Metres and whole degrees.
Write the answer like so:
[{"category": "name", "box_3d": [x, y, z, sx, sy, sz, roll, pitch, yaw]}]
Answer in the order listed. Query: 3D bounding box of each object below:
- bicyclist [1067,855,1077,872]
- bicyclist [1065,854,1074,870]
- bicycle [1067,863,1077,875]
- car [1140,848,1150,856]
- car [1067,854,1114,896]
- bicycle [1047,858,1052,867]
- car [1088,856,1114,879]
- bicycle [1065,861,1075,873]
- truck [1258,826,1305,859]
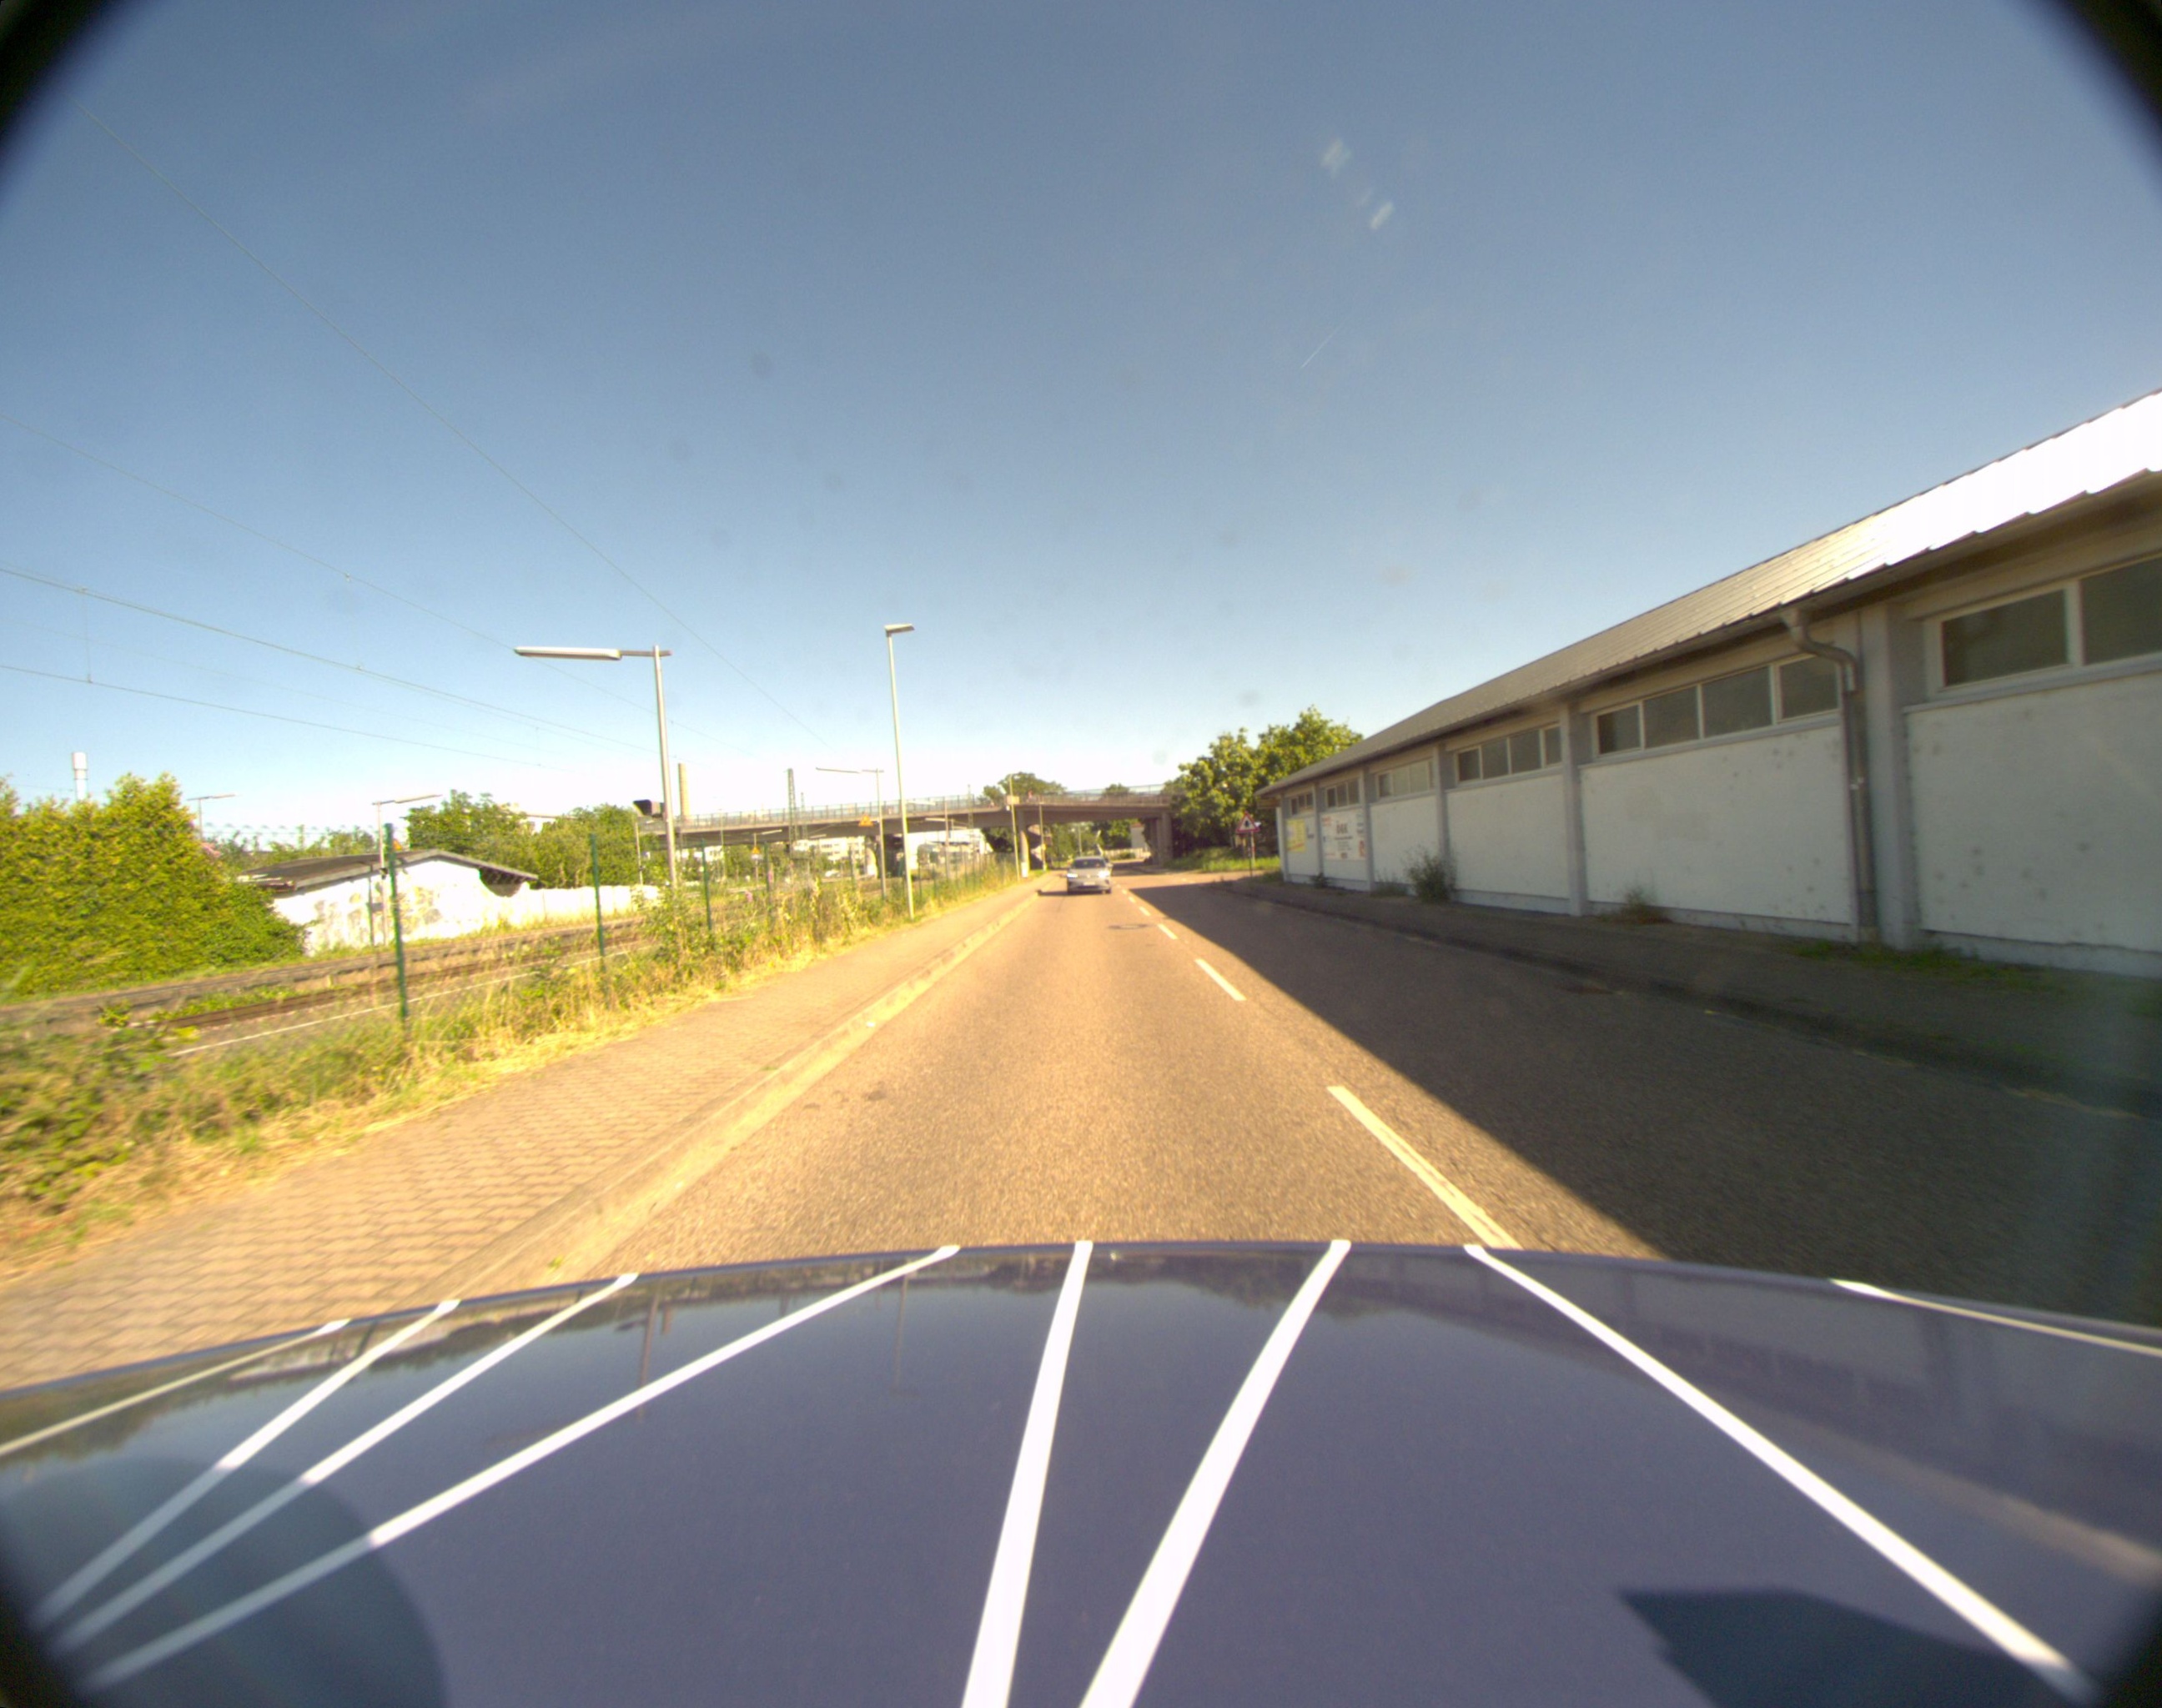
[{"category": "bicyclist", "box_3d": [-0.835, 0.896, 68.805, 0.843, 1.480, 0.923, -3, 1, -2]}, {"category": "bicyclist", "box_3d": [-1.092, 0.760, 71.794, 0.843, 1.480, 0.923, -3, 1, -2]}, {"category": "bicycle", "box_3d": [-0.807, 1.336, 68.762, 0.843, 1.045, 2.189, -3, 0, -2]}, {"category": "car", "box_3d": [14.188, -0.486, 168.945, 1.998, 1.767, 4.367, -3, 0, 6]}, {"category": "car", "box_3d": [0.384, 0.855, 33.327, 1.850, 1.621, 4.295, -2, 0, 0]}, {"category": "bicycle", "box_3d": [-4.374, 1.156, 104.493, 0.599, 1.175, 2.180, -3, 0, -5]}, {"category": "car", "box_3d": [1.556, 1.019, 60.604, 1.850, 1.621, 4.294, -3, 0, 0]}, {"category": "bicycle", "box_3d": [-1.062, 1.192, 71.793, 0.843, 1.045, 2.189, -3, 0, -2]}, {"category": "truck", "box_3d": [24.097, -1.414, 90.882, 2.476, 3.530, 7.982, -3, 1, 36]}]
